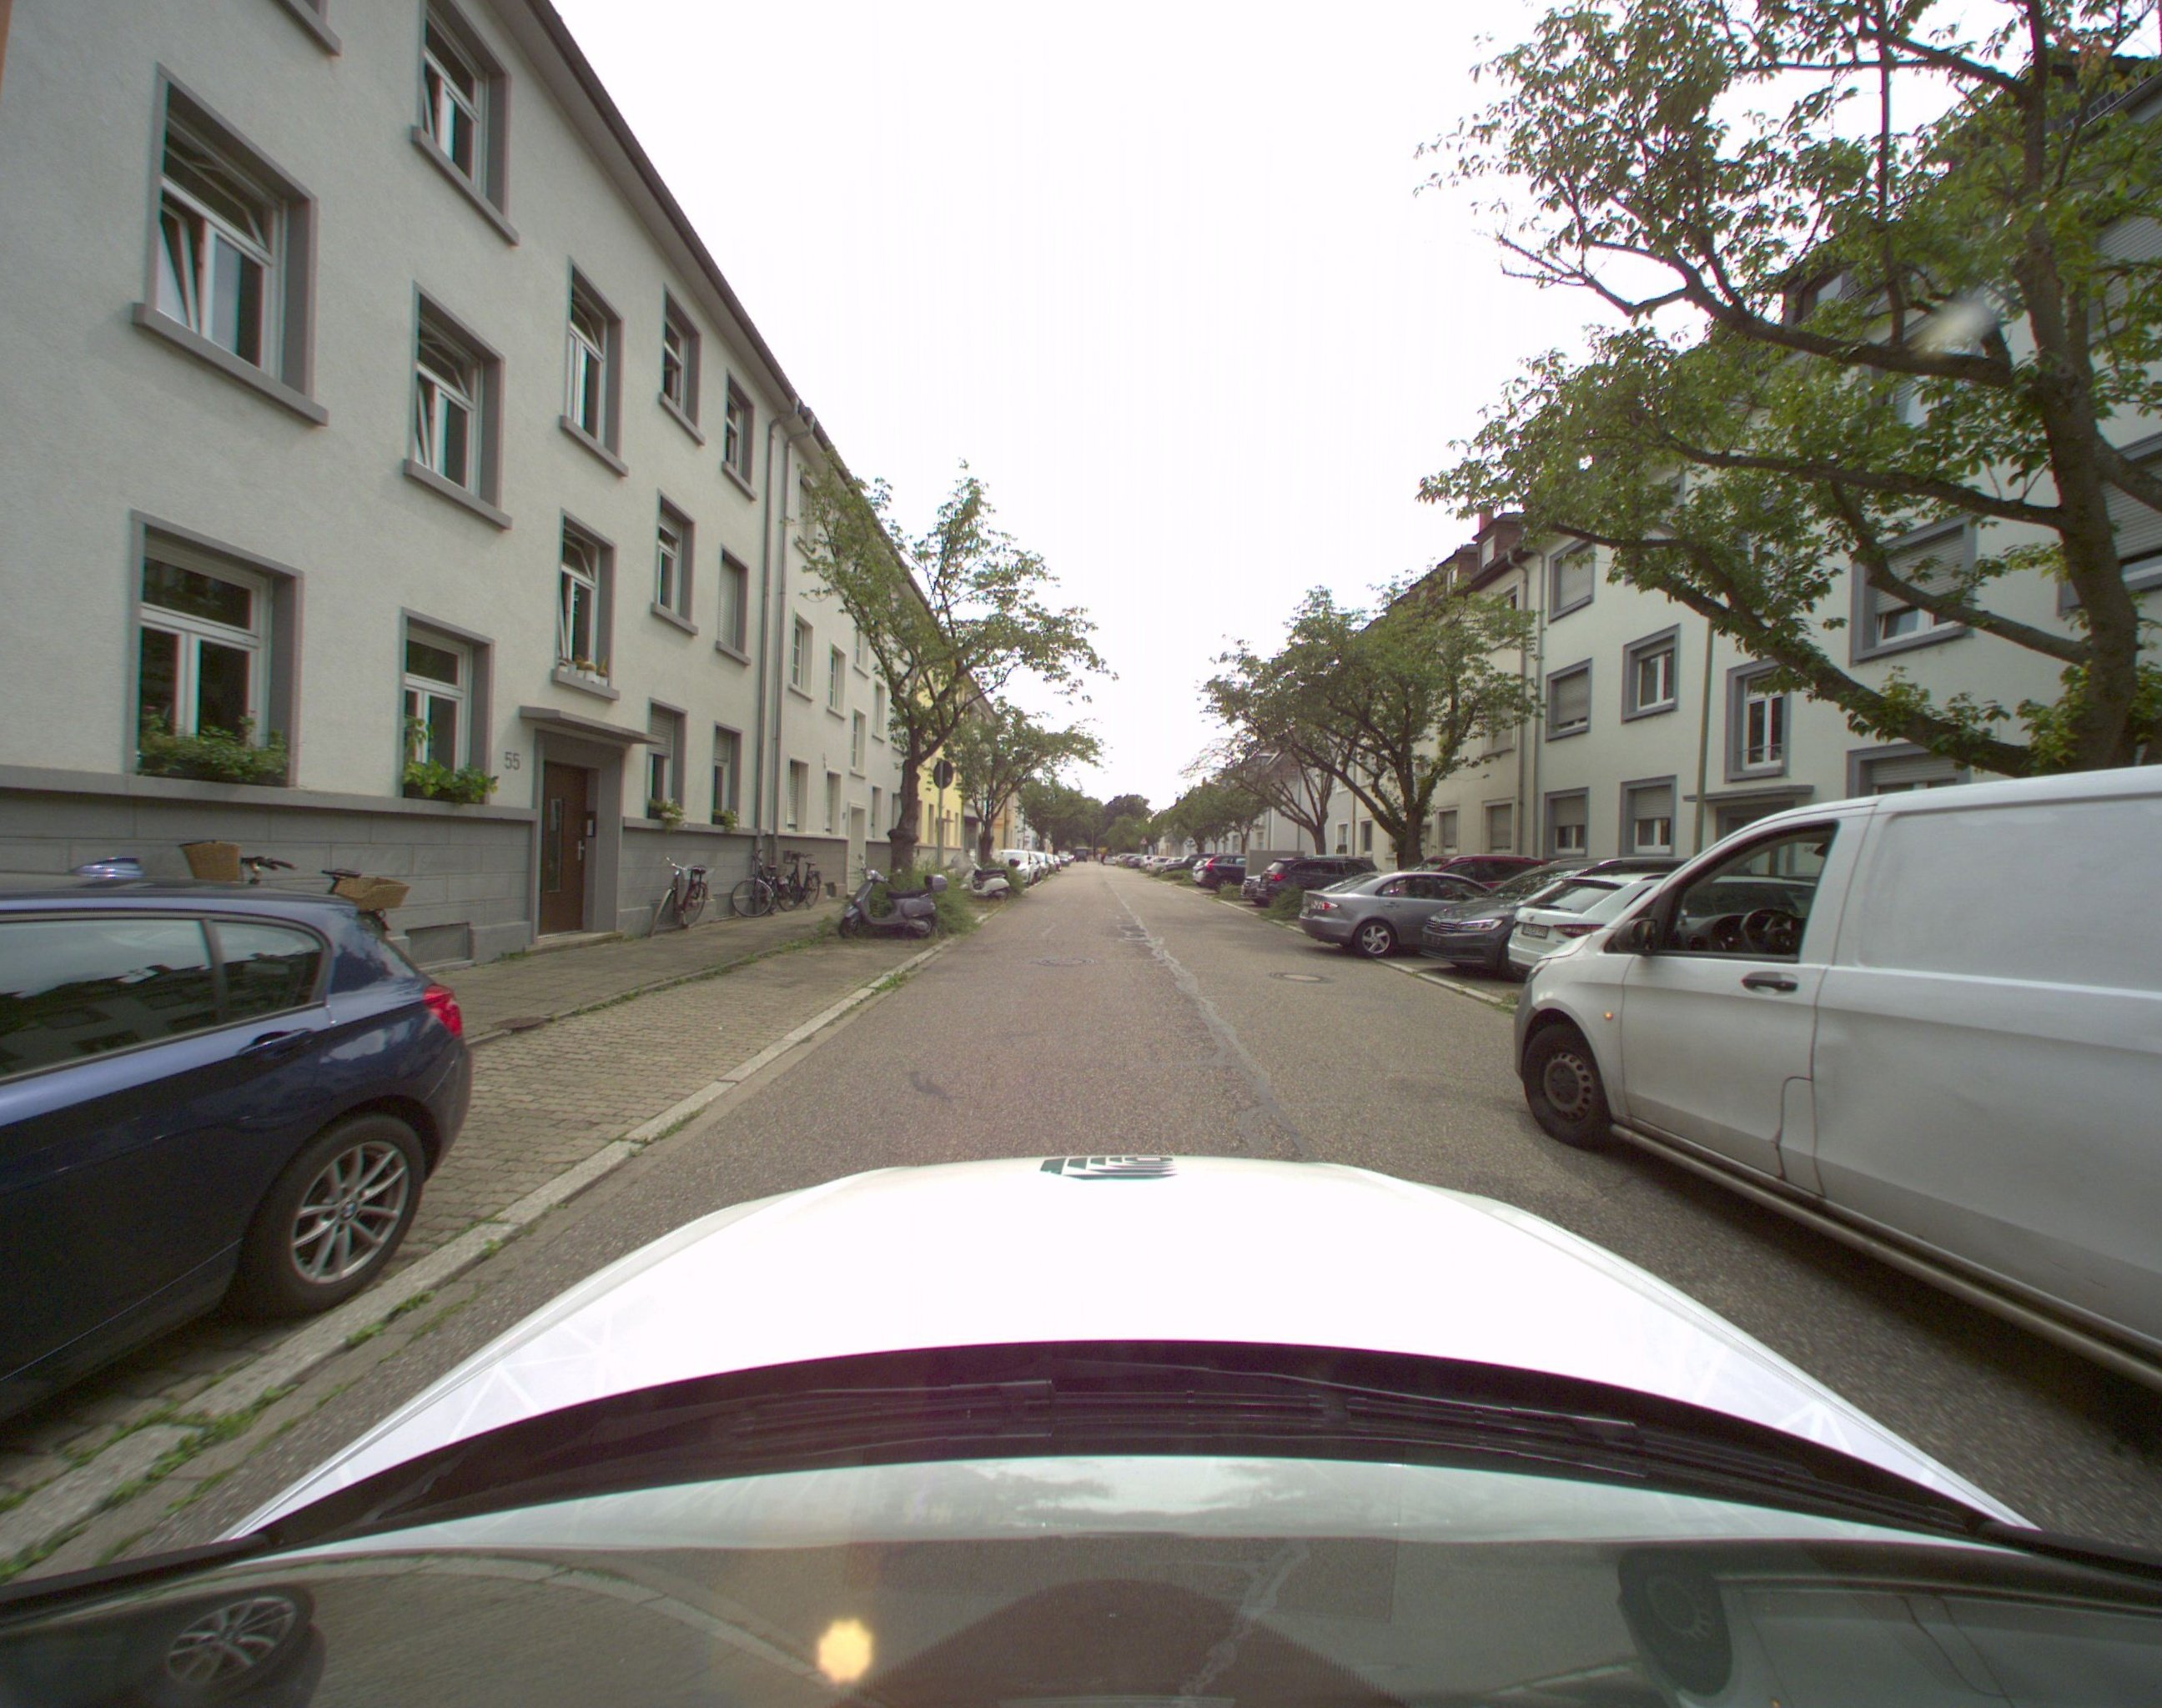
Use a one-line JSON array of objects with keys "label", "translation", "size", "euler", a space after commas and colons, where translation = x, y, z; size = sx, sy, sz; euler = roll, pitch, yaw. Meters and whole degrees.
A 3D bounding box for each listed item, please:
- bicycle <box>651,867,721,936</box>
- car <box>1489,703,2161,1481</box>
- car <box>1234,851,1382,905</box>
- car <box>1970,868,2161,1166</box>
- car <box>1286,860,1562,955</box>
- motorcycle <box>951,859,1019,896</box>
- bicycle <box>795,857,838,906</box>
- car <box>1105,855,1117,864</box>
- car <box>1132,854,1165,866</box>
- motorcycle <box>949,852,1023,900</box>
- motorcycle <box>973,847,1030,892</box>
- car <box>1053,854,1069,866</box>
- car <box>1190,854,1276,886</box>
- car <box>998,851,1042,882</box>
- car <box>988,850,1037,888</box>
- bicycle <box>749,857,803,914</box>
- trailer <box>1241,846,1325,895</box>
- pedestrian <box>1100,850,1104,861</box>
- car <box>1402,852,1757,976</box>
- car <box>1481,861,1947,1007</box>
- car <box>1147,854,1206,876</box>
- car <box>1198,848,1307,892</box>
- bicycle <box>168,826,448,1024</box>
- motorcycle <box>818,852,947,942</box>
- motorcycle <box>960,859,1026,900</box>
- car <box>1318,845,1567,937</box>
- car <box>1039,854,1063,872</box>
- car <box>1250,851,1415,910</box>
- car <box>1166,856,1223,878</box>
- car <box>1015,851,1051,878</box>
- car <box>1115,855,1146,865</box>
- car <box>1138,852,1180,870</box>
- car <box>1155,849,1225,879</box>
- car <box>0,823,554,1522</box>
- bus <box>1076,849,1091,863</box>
[{"label": "bicycle", "translation": [-5.898, 0.684, 12.221], "size": [0.308, 0.966, 1.434], "euler": [-1, -1, 2]}, {"label": "car", "translation": [3.657, 0.628, 2.829], "size": [1.988, 1.915, 4.701], "euler": [3, -1, -2]}, {"label": "car", "translation": [7.205, 0.746, 26.165], "size": [4.204, 1.598, 1.902], "euler": [-1, -1, -2]}, {"label": "car", "translation": [7.541, 0.868, 4.430], "size": [3.468, 1.574, 1.814], "euler": [-1, -1, -1]}, {"label": "car", "translation": [5.718, 0.859, 13.909], "size": [3.974, 1.455, 1.766], "euler": [-1, -1, -1]}, {"label": "motorcycle", "translation": [-3.576, 0.873, 30.568], "size": [2.440, 1.311, 0.643], "euler": [-1, -1, 1]}, {"label": "bicycle", "translation": [-5.760, 0.579, 17.771], "size": [0.418, 1.006, 1.434], "euler": [-1, -1, 2]}, {"label": "car", "translation": [4.669, 0.843, 127.141], "size": [1.681, 1.354, 3.827], "euler": [-1, 0, 2]}, {"label": "car", "translation": [7.924, 0.681, 95.176], "size": [3.734, 1.365, 1.773], "euler": [-1, -1, 1]}, {"label": "motorcycle", "translation": [-3.006, 0.678, 25.826], "size": [2.243, 1.481, 0.592], "euler": [-1, -1, -27]}, {"label": "motorcycle", "translation": [-3.162, 0.582, 32.190], "size": [0.944, 1.676, 2.444], "euler": [1, 0, -43]}, {"label": "car", "translation": [-2.647, 0.809, 109.856], "size": [1.756, 1.554, 3.734], "euler": [-1, 0, 4]}, {"label": "car", "translation": [7.676, 0.799, 41.237], "size": [3.978, 1.530, 1.766], "euler": [-1, -1, -3]}, {"label": "car", "translation": [-3.074, 0.641, 42.106], "size": [1.784, 1.492, 4.812], "euler": [2, -1, 1]}, {"label": "car", "translation": [-2.974, 0.634, 36.035], "size": [1.751, 1.556, 4.255], "euler": [1, 0, 0]}, {"label": "bicycle", "translation": [-5.679, 0.564, 15.206], "size": [0.418, 1.006, 1.434], "euler": [-1, -1, 2]}, {"label": "trailer", "translation": [7.784, 0.639, 31.558], "size": [2.948, 1.831, 1.402], "euler": [-1, -1, 3]}, {"label": "pedestrian", "translation": [3.231, 0.268, 127.006], "size": [0.520, 1.704, 0.445], "euler": [-1, -1, 4]}, {"label": "car", "translation": [6.816, 0.783, 11.417], "size": [3.974, 1.536, 1.638], "euler": [-1, -1, -1]}, {"label": "car", "translation": [6.866, 0.824, 9.128], "size": [3.974, 1.420, 1.638], "euler": [-1, -1, -1]}, {"label": "car", "translation": [7.666, 0.900, 65.601], "size": [4.598, 1.664, 1.893], "euler": [-1, -1, 1]}, {"label": "car", "translation": [7.073, 0.649, 33.950], "size": [4.198, 1.736, 1.905], "euler": [-1, -1, 2]}, {"label": "bicycle", "translation": [-5.928, 0.487, 6.409], "size": [0.428, 1.334, 1.812], "euler": [-1, -1, 2]}, {"label": "motorcycle", "translation": [-3.286, 0.692, 13.633], "size": [2.012, 1.407, 0.789], "euler": [-1, -1, -11]}, {"label": "motorcycle", "translation": [-2.679, 0.750, 24.779], "size": [1.916, 1.192, 0.592], "euler": [-1, -1, -27]}, {"label": "car", "translation": [7.147, 0.712, 16.453], "size": [4.198, 1.677, 1.905], "euler": [-1, -1, 2]}, {"label": "car", "translation": [-2.579, 0.754, 71.420], "size": [1.871, 1.486, 4.512], "euler": [-1, 0, 0]}, {"label": "car", "translation": [7.229, 0.745, 23.703], "size": [4.204, 1.598, 1.902], "euler": [-1, -1, -2]}, {"label": "car", "translation": [7.930, 0.884, 57.037], "size": [3.618, 1.454, 1.770], "euler": [-1, -1, -4]}, {"label": "car", "translation": [-2.950, 0.669, 50.728], "size": [1.912, 1.581, 4.382], "euler": [-1, 0, 1]}, {"label": "car", "translation": [8.172, 1.032, 135.403], "size": [4.961, 1.518, 1.767], "euler": [-1, -1, -2]}, {"label": "car", "translation": [7.603, 0.681, 79.486], "size": [3.910, 1.633, 1.868], "euler": [-1, -1, 1]}, {"label": "car", "translation": [7.239, 0.668, 54.413], "size": [4.507, 1.858, 1.794], "euler": [-1, -1, 2]}, {"label": "car", "translation": [-3.243, 0.670, 1.496], "size": [1.831, 1.484, 4.118], "euler": [4, -1, -2]}, {"label": "bus", "translation": [0.420, 0.399, 167.158], "size": [2.994, 2.761, 8.921], "euler": [-1, 0, 0]}]
